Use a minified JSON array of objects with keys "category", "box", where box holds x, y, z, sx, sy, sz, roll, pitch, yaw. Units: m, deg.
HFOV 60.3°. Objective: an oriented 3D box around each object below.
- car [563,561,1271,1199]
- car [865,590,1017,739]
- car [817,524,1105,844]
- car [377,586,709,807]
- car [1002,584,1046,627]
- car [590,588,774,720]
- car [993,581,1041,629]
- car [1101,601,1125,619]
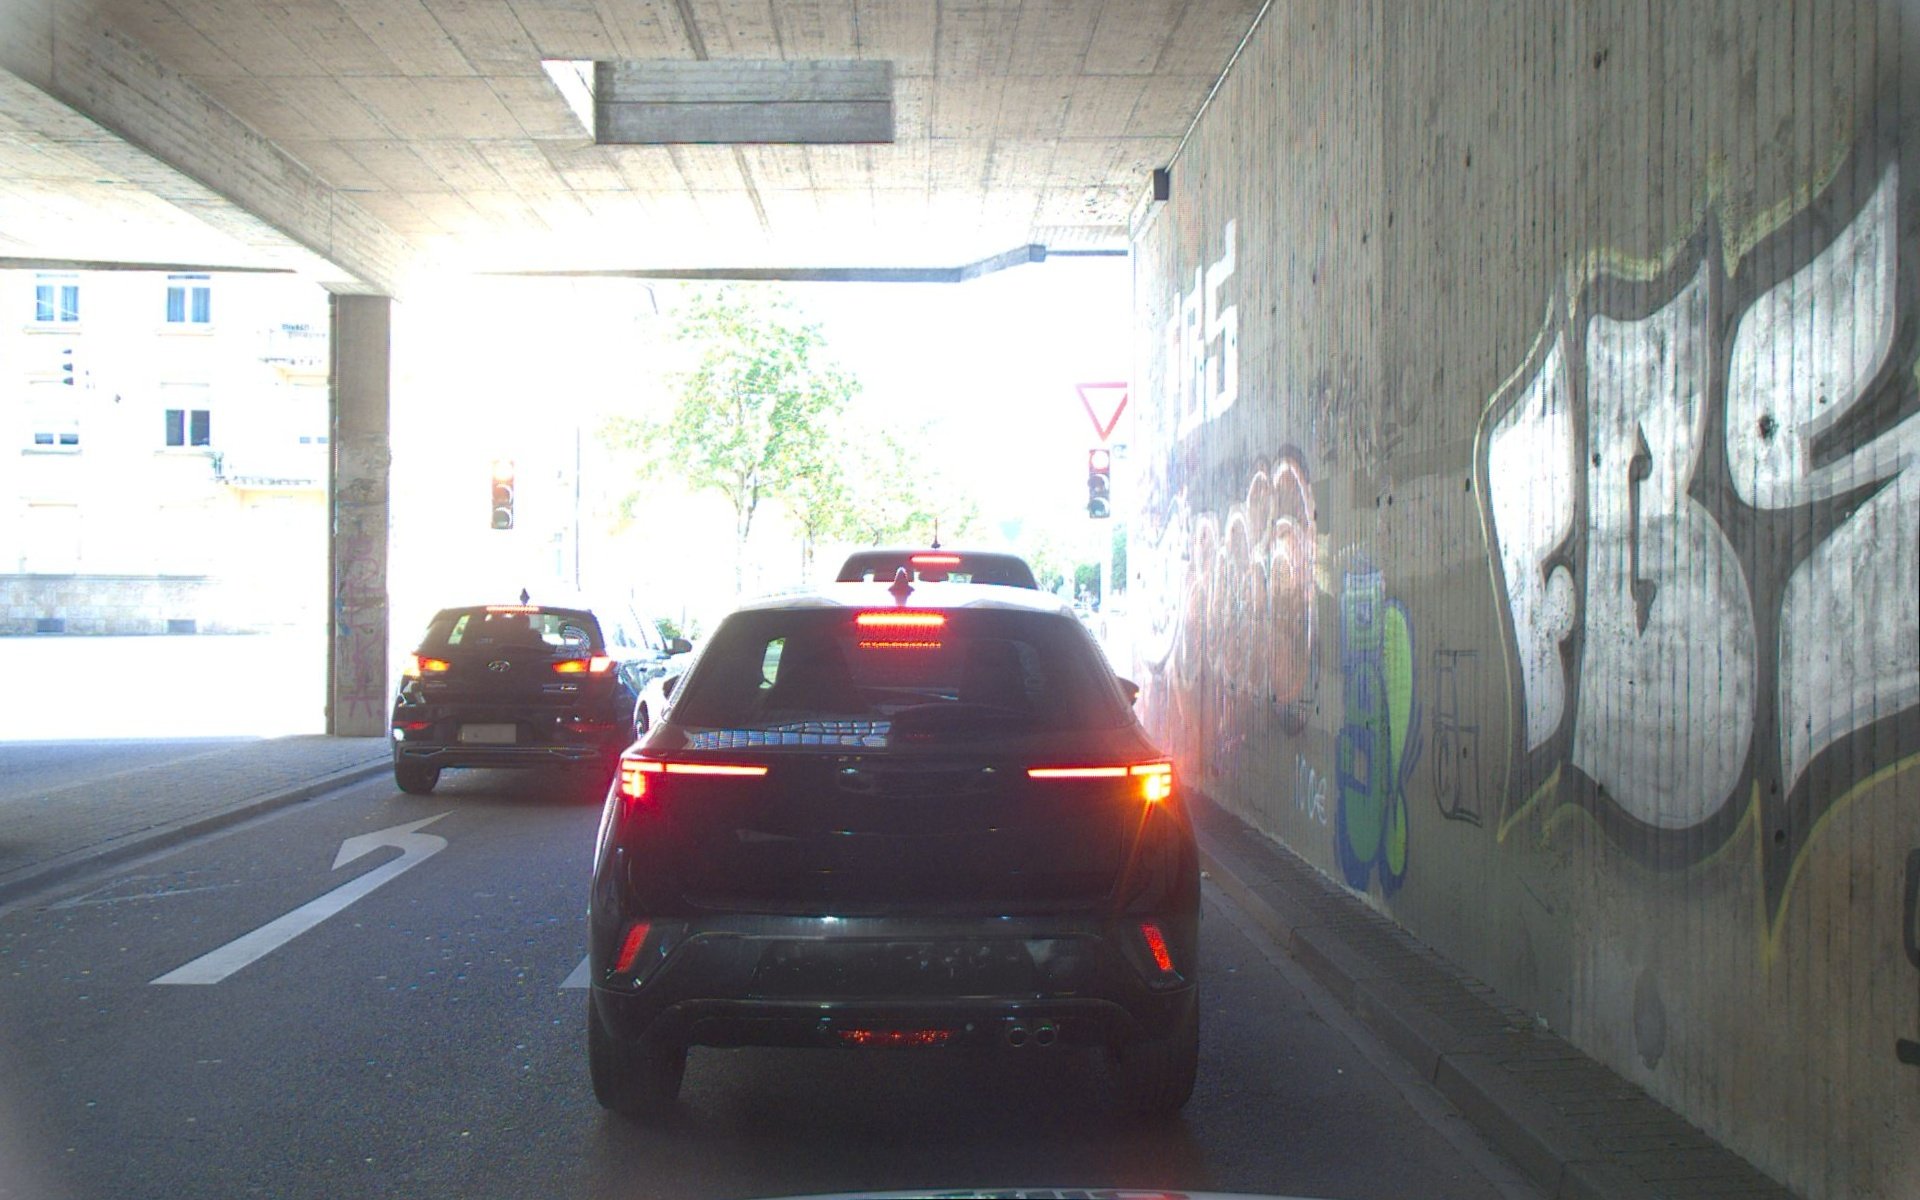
[{"category":"car","box":[-0.130,0.684,6.097,1.726,1.558,4.088,0,0,-1]},{"category":"car","box":[-0.231,0.670,19.256,1.576,1.539,4.053,0,0,-1]},{"category":"car","box":[-0.025,0.503,12.042,1.726,1.915,4.145,0,0,-1]},{"category":"car","box":[-3.141,0.657,13.239,1.726,1.506,3.843,0,0,-1]},{"category":"car","box":[2.671,0.221,68.362,1.717,1.696,3.946,1,0,3]},{"category":"car","box":[-3.413,0.618,20.960,1.726,1.506,3.843,0,0,-1]},{"category":"car","box":[2.182,0.186,62.236,1.717,1.696,3.946,1,0,3]},{"category":"car","box":[14.652,0.948,158.415,1.778,1.696,4.819,1,0,11]}]
